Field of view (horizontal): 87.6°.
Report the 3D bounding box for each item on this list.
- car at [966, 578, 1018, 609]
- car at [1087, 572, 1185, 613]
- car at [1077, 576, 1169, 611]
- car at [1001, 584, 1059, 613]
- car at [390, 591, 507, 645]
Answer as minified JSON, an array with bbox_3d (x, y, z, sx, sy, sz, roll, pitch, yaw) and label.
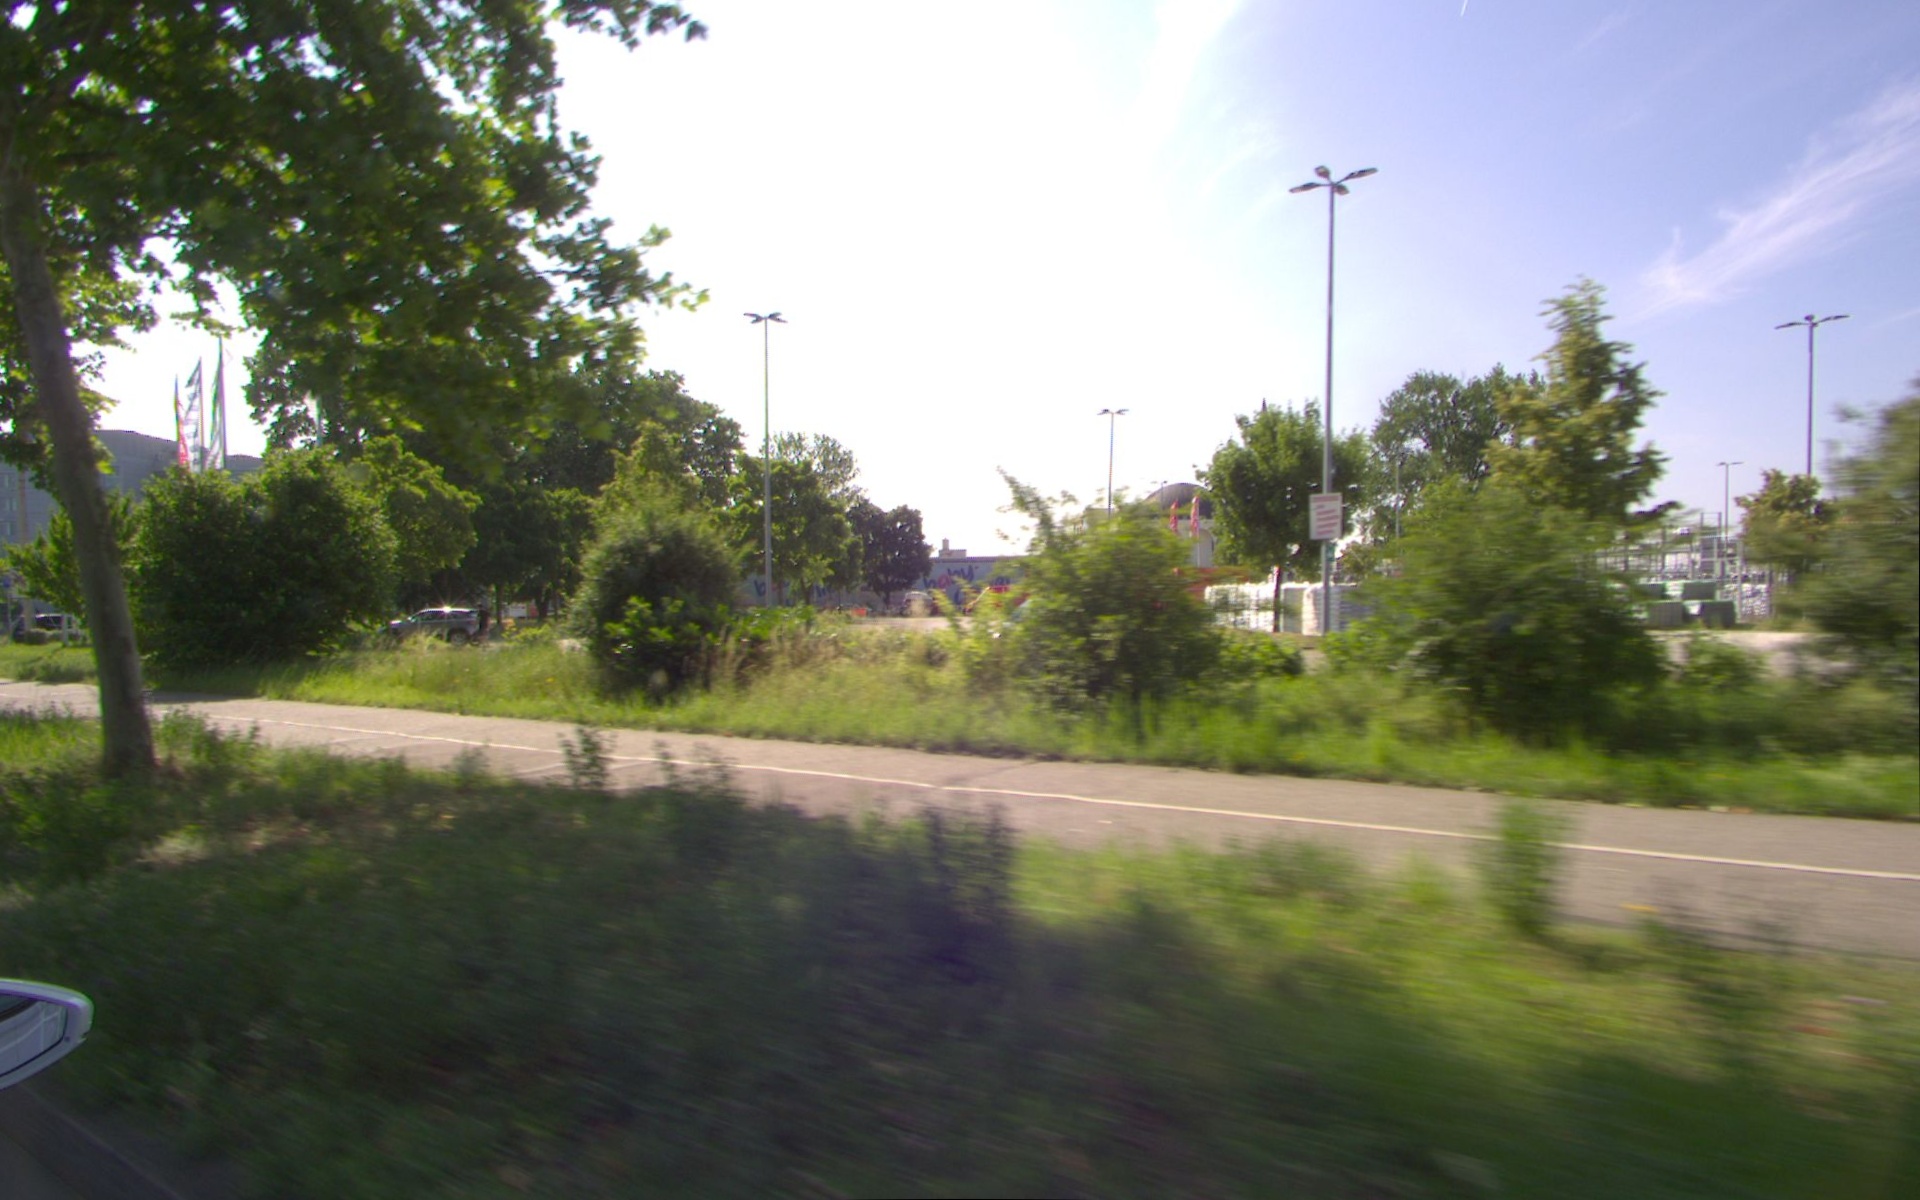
[{"bbox_3d":[2.825,-0.521,88.270,4.317,2.632,2.000,-1,0,-5],"label":"car"},{"bbox_3d":[11.653,-0.479,66.555,6.059,2.598,2.000,-1,0,-4],"label":"car"},{"bbox_3d":[11.460,-0.427,70.643,6.090,2.338,1.882,-1,0,-5],"label":"car"},{"bbox_3d":[5.800,-0.147,82.641,4.713,2.279,2.000,-1,0,5],"label":"car"},{"bbox_3d":[-20.340,0.713,39.972,3.725,2.040,1.998,-1,0,-11],"label":"car"}]
